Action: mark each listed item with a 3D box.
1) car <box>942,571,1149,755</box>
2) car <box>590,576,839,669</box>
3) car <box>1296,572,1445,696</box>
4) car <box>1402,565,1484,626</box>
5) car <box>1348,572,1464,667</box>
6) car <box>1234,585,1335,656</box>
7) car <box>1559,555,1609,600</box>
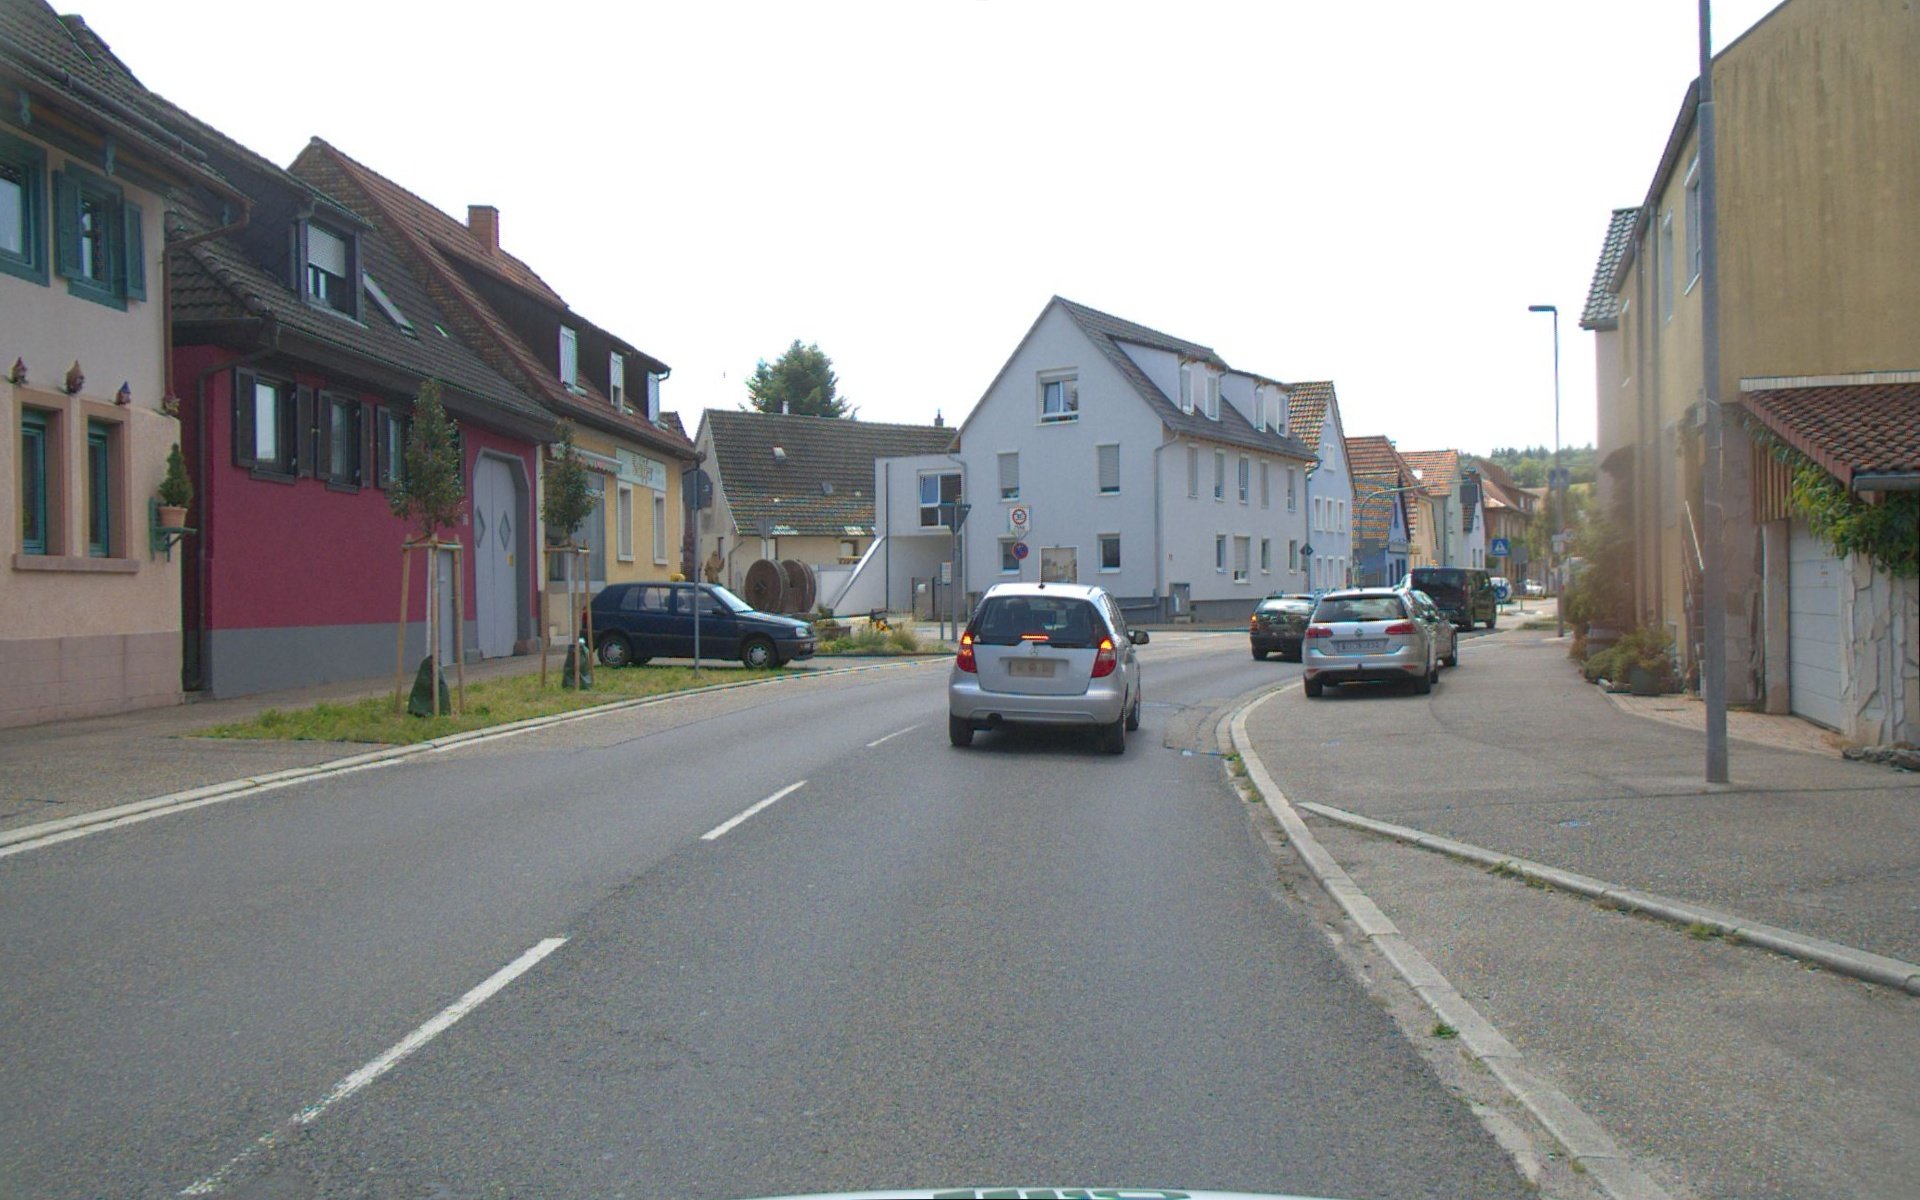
[{"bbox_3d":[1.000,0.557,17.288,1.772,1.672,3.732,1,1,8],"label":"car"},{"bbox_3d":[-4.084,0.364,27.896,3.884,1.489,1.722,1,0,3],"label":"car"},{"bbox_3d":[6.020,0.448,24.026,1.845,1.556,4.339,-3,-1,16],"label":"car"},{"bbox_3d":[15.451,-0.107,52.813,1.954,1.848,3.997,0,-1,25],"label":"car"},{"bbox_3d":[7.912,0.348,29.296,1.845,1.557,4.002,0,-1,16],"label":"car"},{"bbox_3d":[7.075,0.450,35.800,1.713,1.441,4.002,0,-1,18],"label":"car"},{"bbox_3d":[30.263,-1.064,80.150,1.954,2.049,3.996,0,-1,26],"label":"car"}]
